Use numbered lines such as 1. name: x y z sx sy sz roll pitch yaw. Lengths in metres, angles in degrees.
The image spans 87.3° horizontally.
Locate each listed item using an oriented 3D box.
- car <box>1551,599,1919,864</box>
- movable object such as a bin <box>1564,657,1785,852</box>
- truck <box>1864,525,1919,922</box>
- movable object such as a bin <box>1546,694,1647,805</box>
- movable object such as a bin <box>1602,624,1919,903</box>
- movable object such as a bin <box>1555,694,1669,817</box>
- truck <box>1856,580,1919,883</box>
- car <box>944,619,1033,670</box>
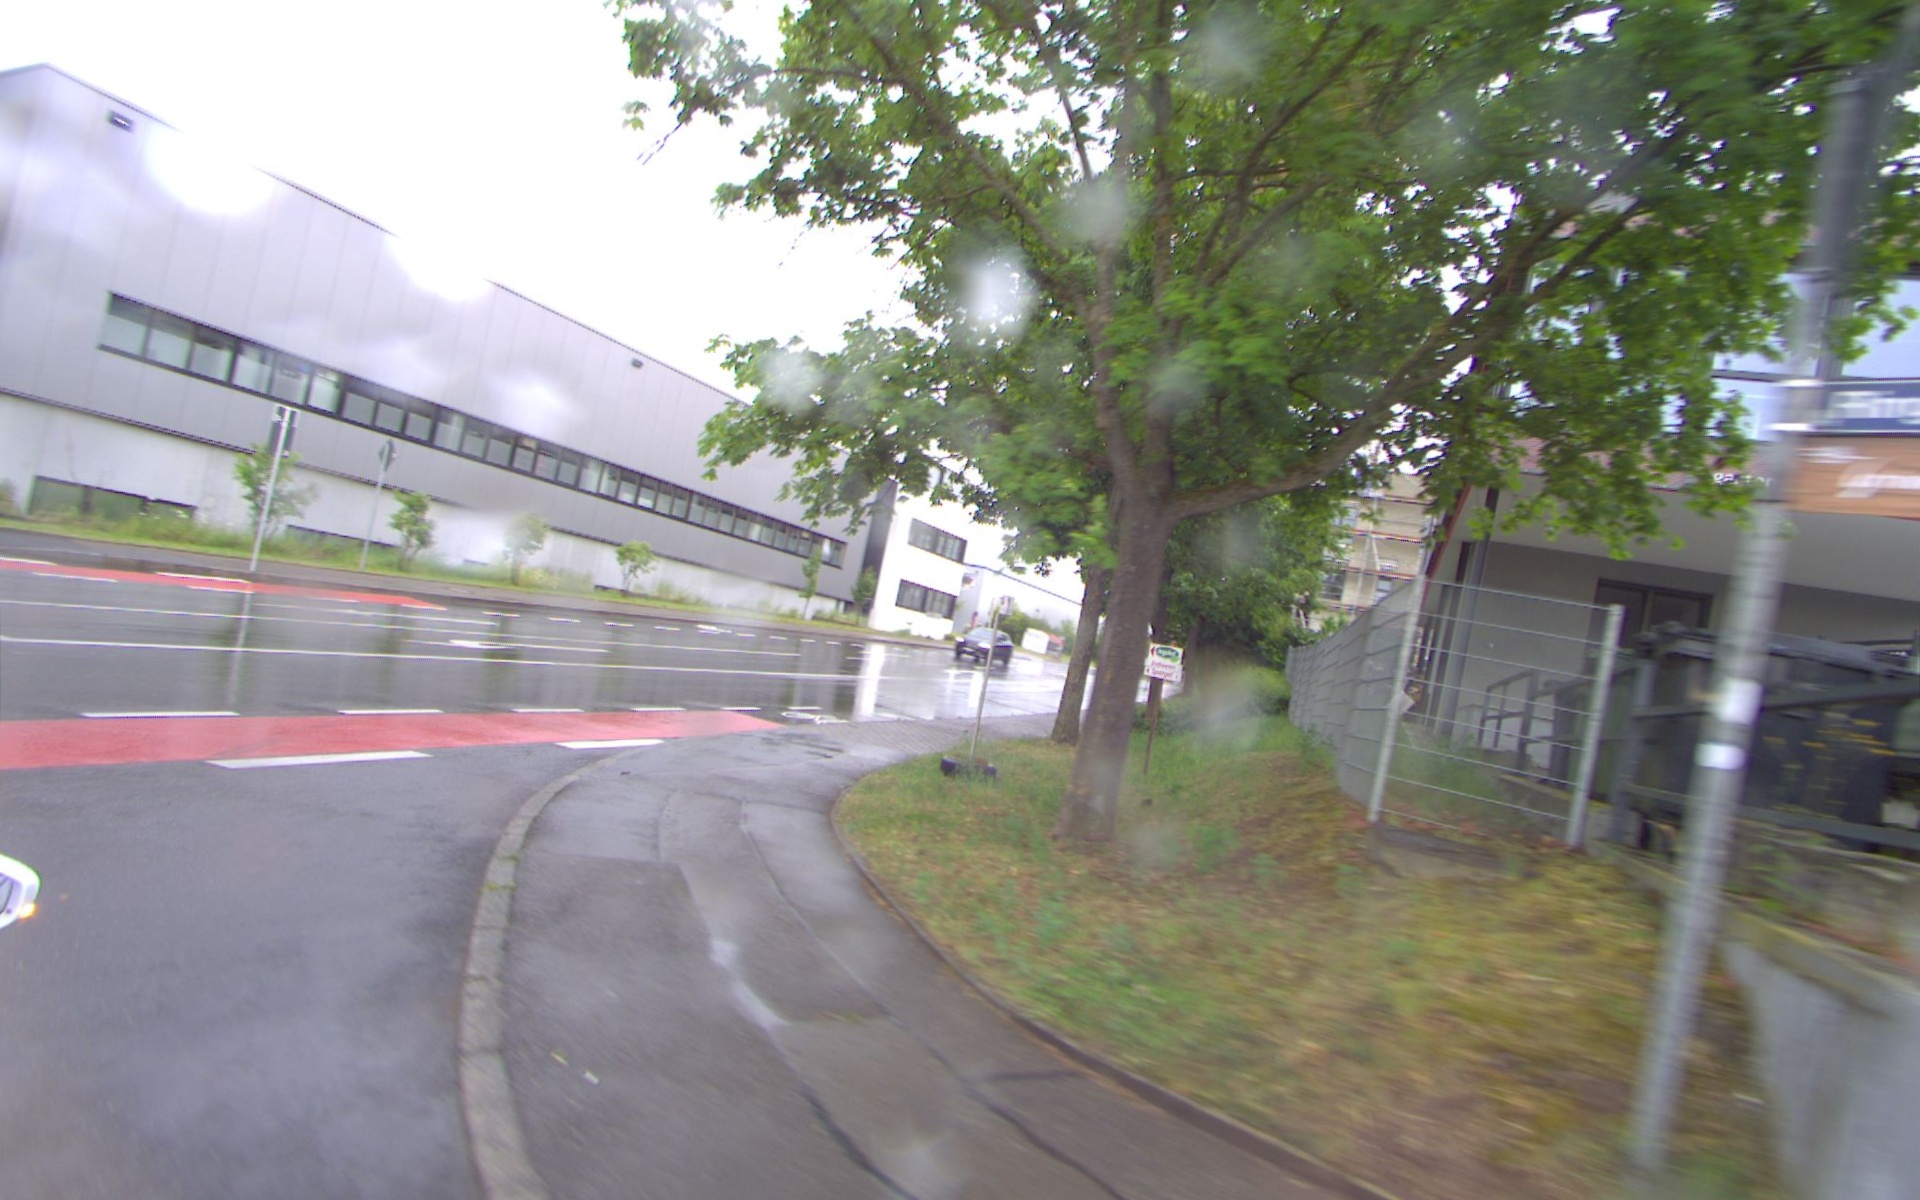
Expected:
1. car: 8.973 1.424 9.958 4.846 2.036 2.065 8 -2 20
2. movable object such as a bin: 4.704 0.994 6.725 0.868 1.054 1.054 8 -2 23
3. truck: 7.790 0.973 4.083 5.547 2.239 2.115 9 -1 18
4. movable object such as a bin: 5.347 1.243 8.481 0.530 0.810 0.523 8 -1 21
5. movable object such as a bin: 4.276 0.823 5.430 1.008 1.175 1.143 8 -2 21
6. movable object such as a bin: 5.022 1.180 7.780 0.530 0.827 0.567 8 -1 21
7. truck: 9.596 1.280 6.651 4.746 2.368 2.253 8 -2 18
8. car: 1.555 2.313 50.693 2.318 1.836 6.885 9 -2 20
